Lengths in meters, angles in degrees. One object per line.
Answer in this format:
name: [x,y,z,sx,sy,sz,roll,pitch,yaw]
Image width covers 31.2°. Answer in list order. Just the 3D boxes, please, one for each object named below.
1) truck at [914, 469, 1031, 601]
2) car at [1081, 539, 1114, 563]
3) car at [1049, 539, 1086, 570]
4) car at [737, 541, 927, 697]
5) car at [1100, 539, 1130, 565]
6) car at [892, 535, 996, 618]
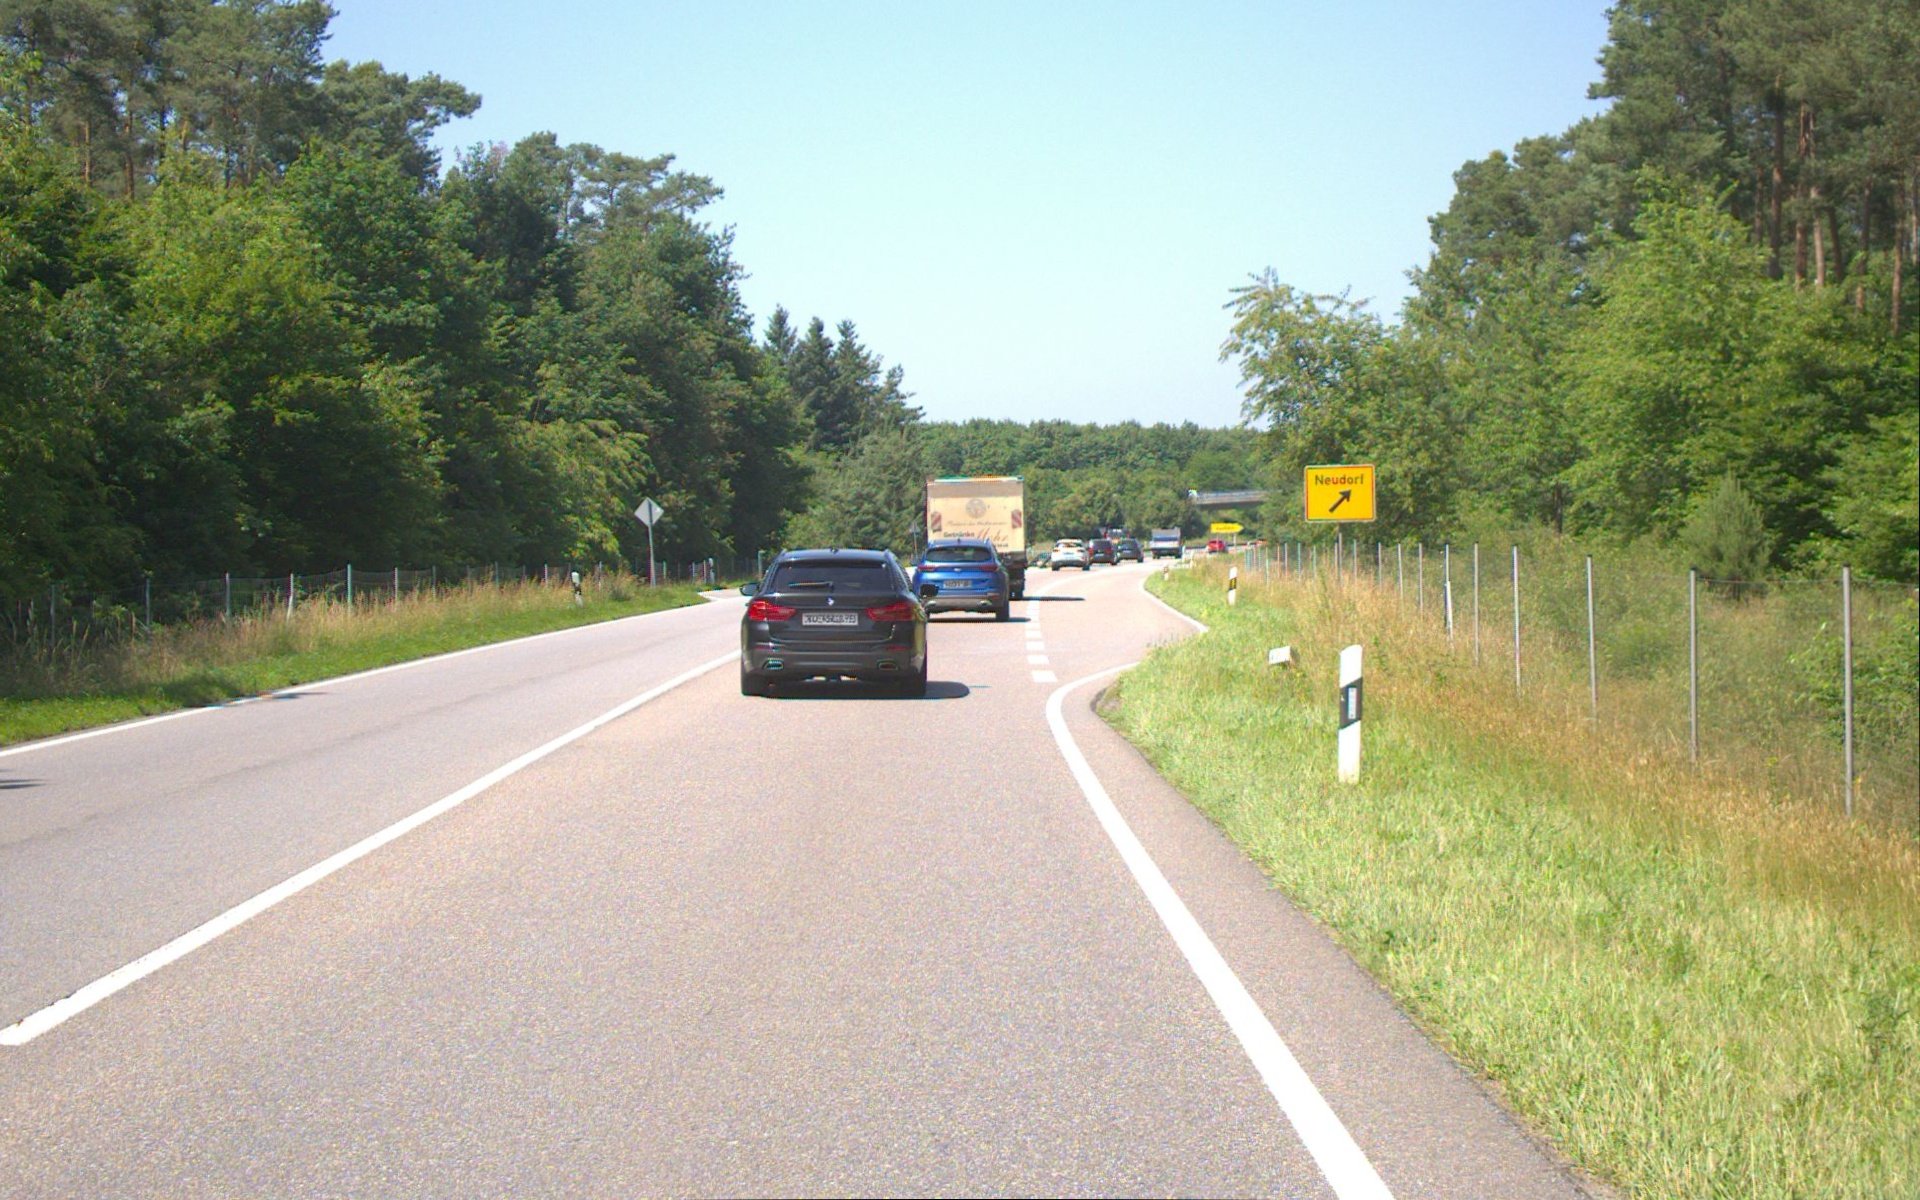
truck: [0.396,-1.753,92.194,2.966,3.376,6.438,-1,1,1]
car: [8.443,-3.007,211.487,1.994,1.415,4.000,0,1,2]
car: [5.720,-2.416,182.136,1.863,1.600,4.000,1,1,3]
car: [-1.343,0.152,35.297,1.820,1.465,4.001,-1,1,-3]
car: [10.609,-3.294,235.213,1.994,1.631,4.000,-2,1,4]
car: [-0.338,-0.487,67.791,1.947,1.536,4.000,-2,1,-1]
